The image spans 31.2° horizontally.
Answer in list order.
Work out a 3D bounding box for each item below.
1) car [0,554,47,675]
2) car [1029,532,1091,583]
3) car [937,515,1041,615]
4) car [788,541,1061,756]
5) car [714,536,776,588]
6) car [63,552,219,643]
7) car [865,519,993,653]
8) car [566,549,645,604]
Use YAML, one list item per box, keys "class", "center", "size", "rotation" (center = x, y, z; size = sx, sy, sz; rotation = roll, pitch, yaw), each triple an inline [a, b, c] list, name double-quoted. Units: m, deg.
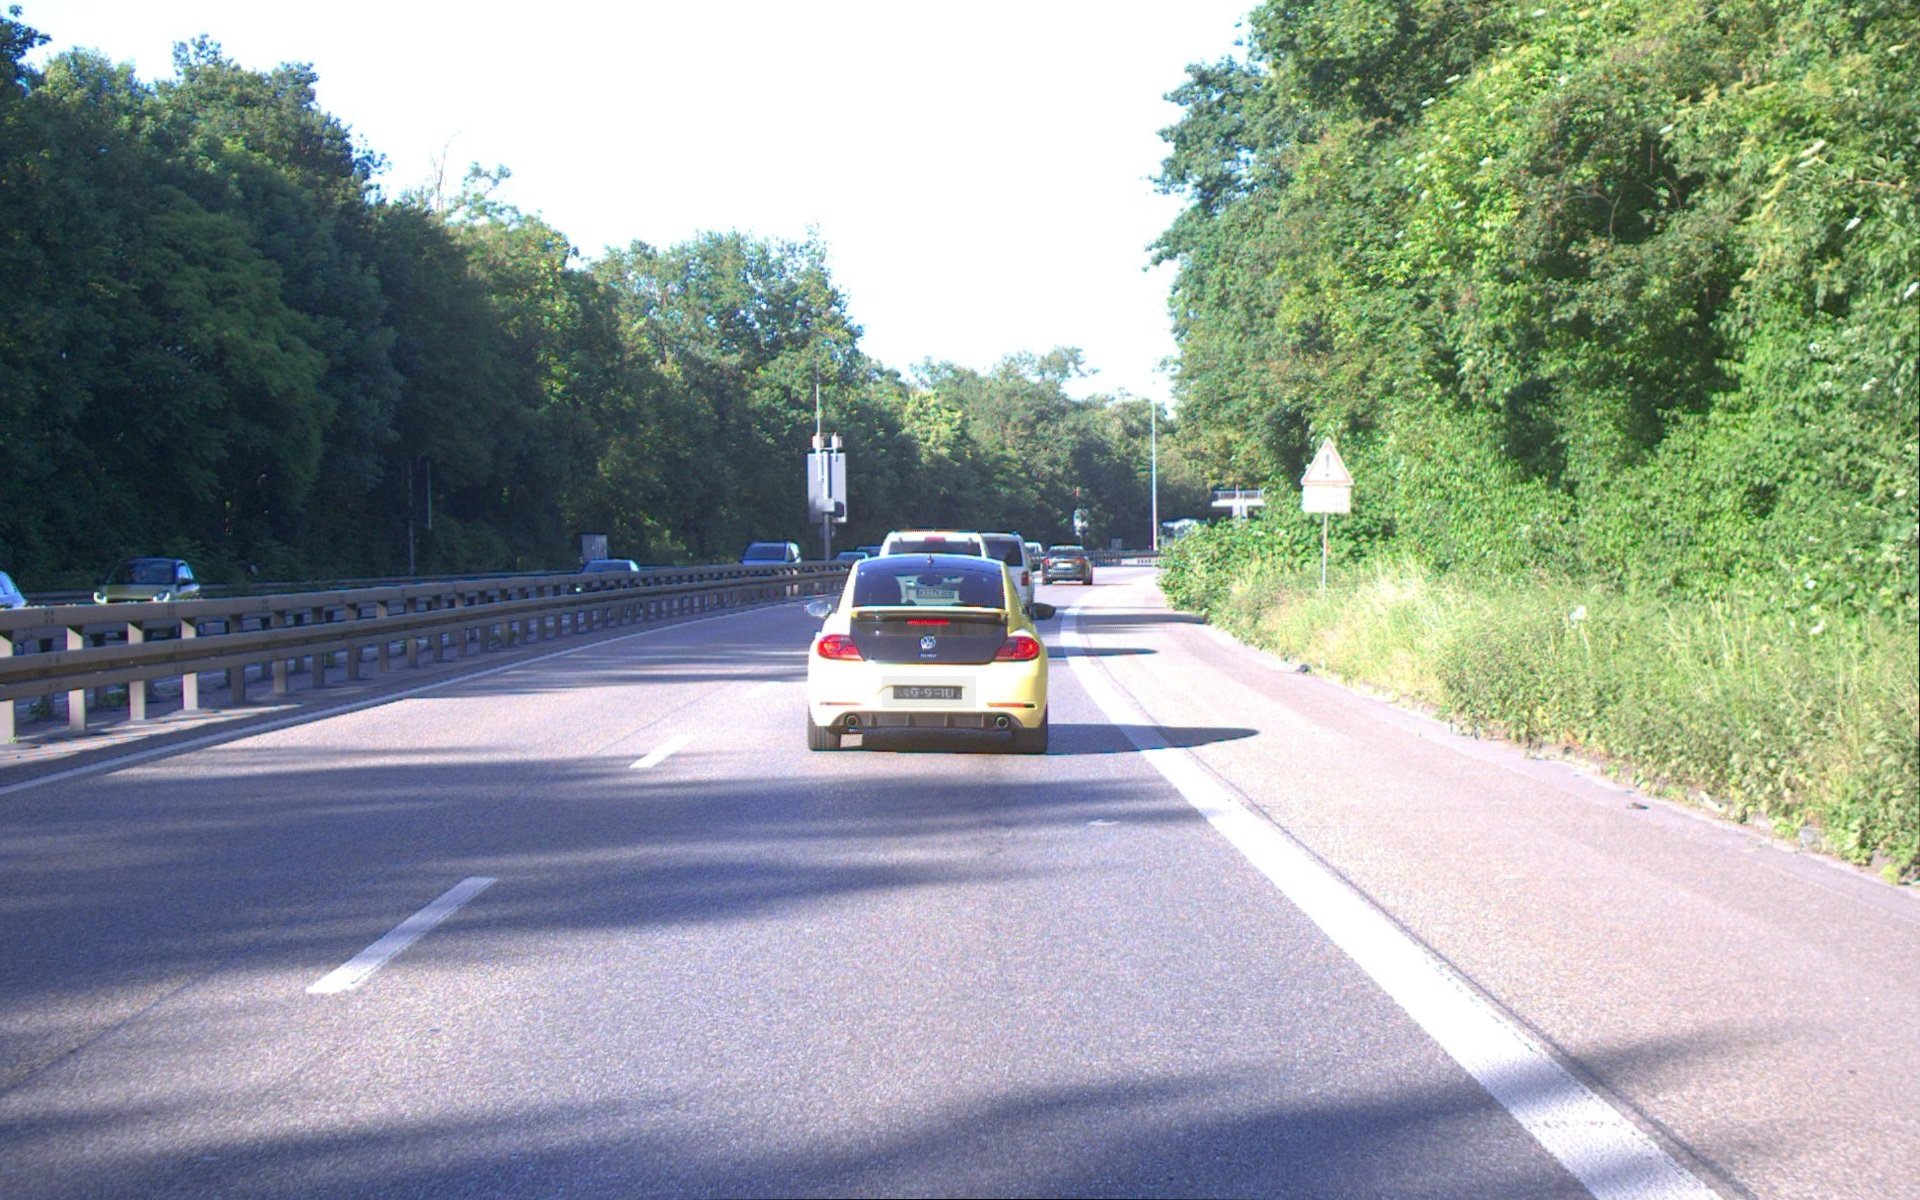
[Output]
- class: "car"
  center: [-14.909, 0.249, 50.058]
  size: [1.993, 1.744, 4.551]
  rotation: [-2, 1, 0]
- class: "car"
  center: [3.849, -1.657, 131.177]
  size: [2.263, 1.869, 5.076]
  rotation: [1, 1, 2]
- class: "car"
  center: [0.596, -0.754, 73.149]
  size: [1.993, 2.007, 4.000]
  rotation: [-2, 1, -2]
- class: "car"
  center: [-0.240, 0.319, 26.301]
  size: [1.939, 1.503, 3.422]
  rotation: [1, 1, 1]
- class: "car"
  center: [-8.275, -1.485, 132.734]
  size: [1.888, 1.896, 5.415]
  rotation: [-2, 1, 1]
- class: "car"
  center: [-15.566, -0.073, 65.561]
  size: [1.993, 1.579, 4.000]
  rotation: [-2, 1, 0]
- class: "car"
  center: [-0.406, -0.231, 49.061]
  size: [1.741, 1.823, 3.422]
  rotation: [1, 1, 1]
- class: "car"
  center: [-9.951, -0.680, 96.623]
  size: [1.597, 1.448, 4.345]
  rotation: [-2, 1, 2]
